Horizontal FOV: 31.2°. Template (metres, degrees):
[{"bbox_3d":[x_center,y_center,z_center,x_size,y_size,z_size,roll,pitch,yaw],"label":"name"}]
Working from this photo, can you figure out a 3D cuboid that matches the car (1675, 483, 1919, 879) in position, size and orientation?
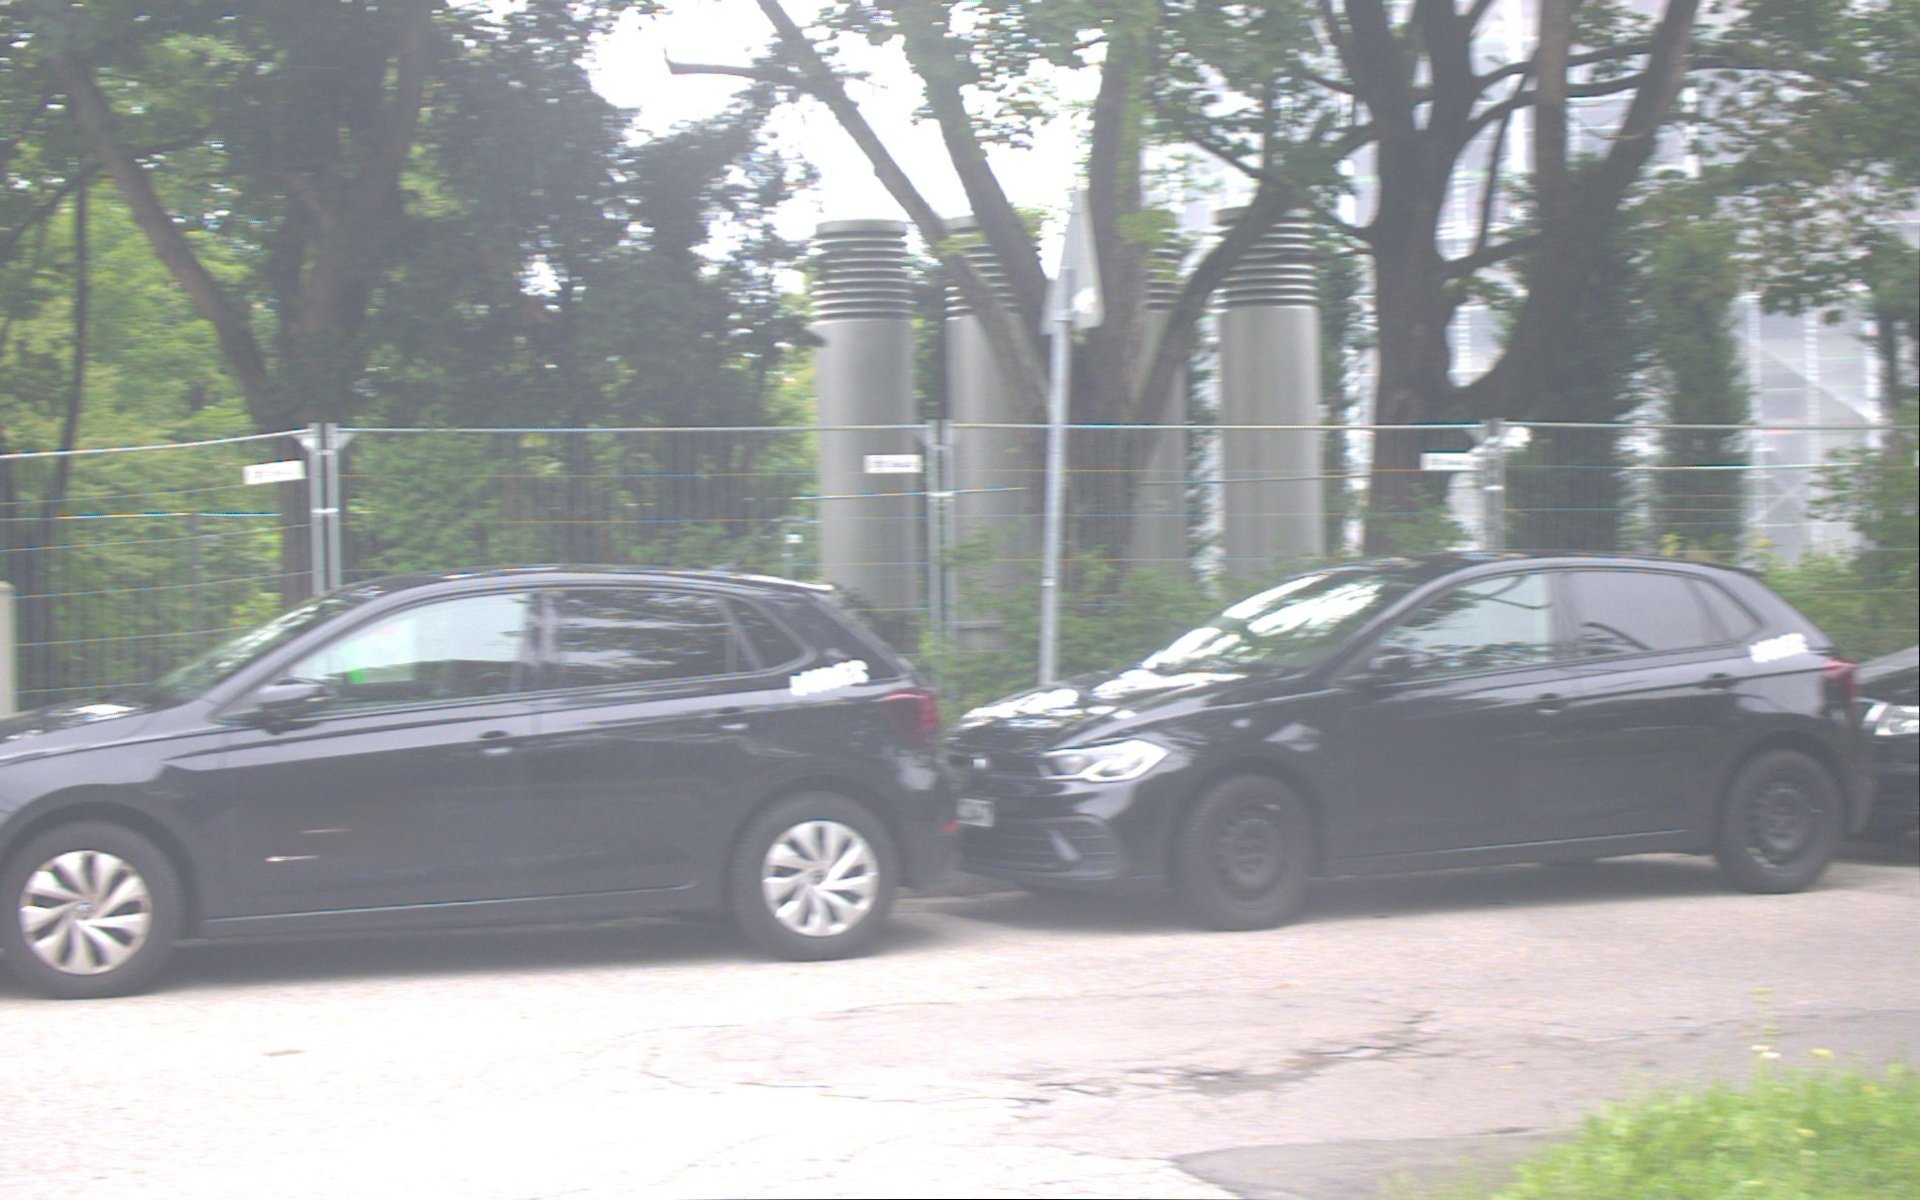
[{"bbox_3d":[5.650,0.292,16.288,3.986,1.700,2.001,-1,2,-22],"label":"car"}]

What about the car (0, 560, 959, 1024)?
[{"bbox_3d":[-2.251,0.619,12.676,4.028,1.428,2.001,-1,2,-21],"label":"car"}]

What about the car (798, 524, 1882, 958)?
[{"bbox_3d":[1.550,0.483,14.264,3.986,1.535,2.001,-1,1,-22],"label":"car"}]
